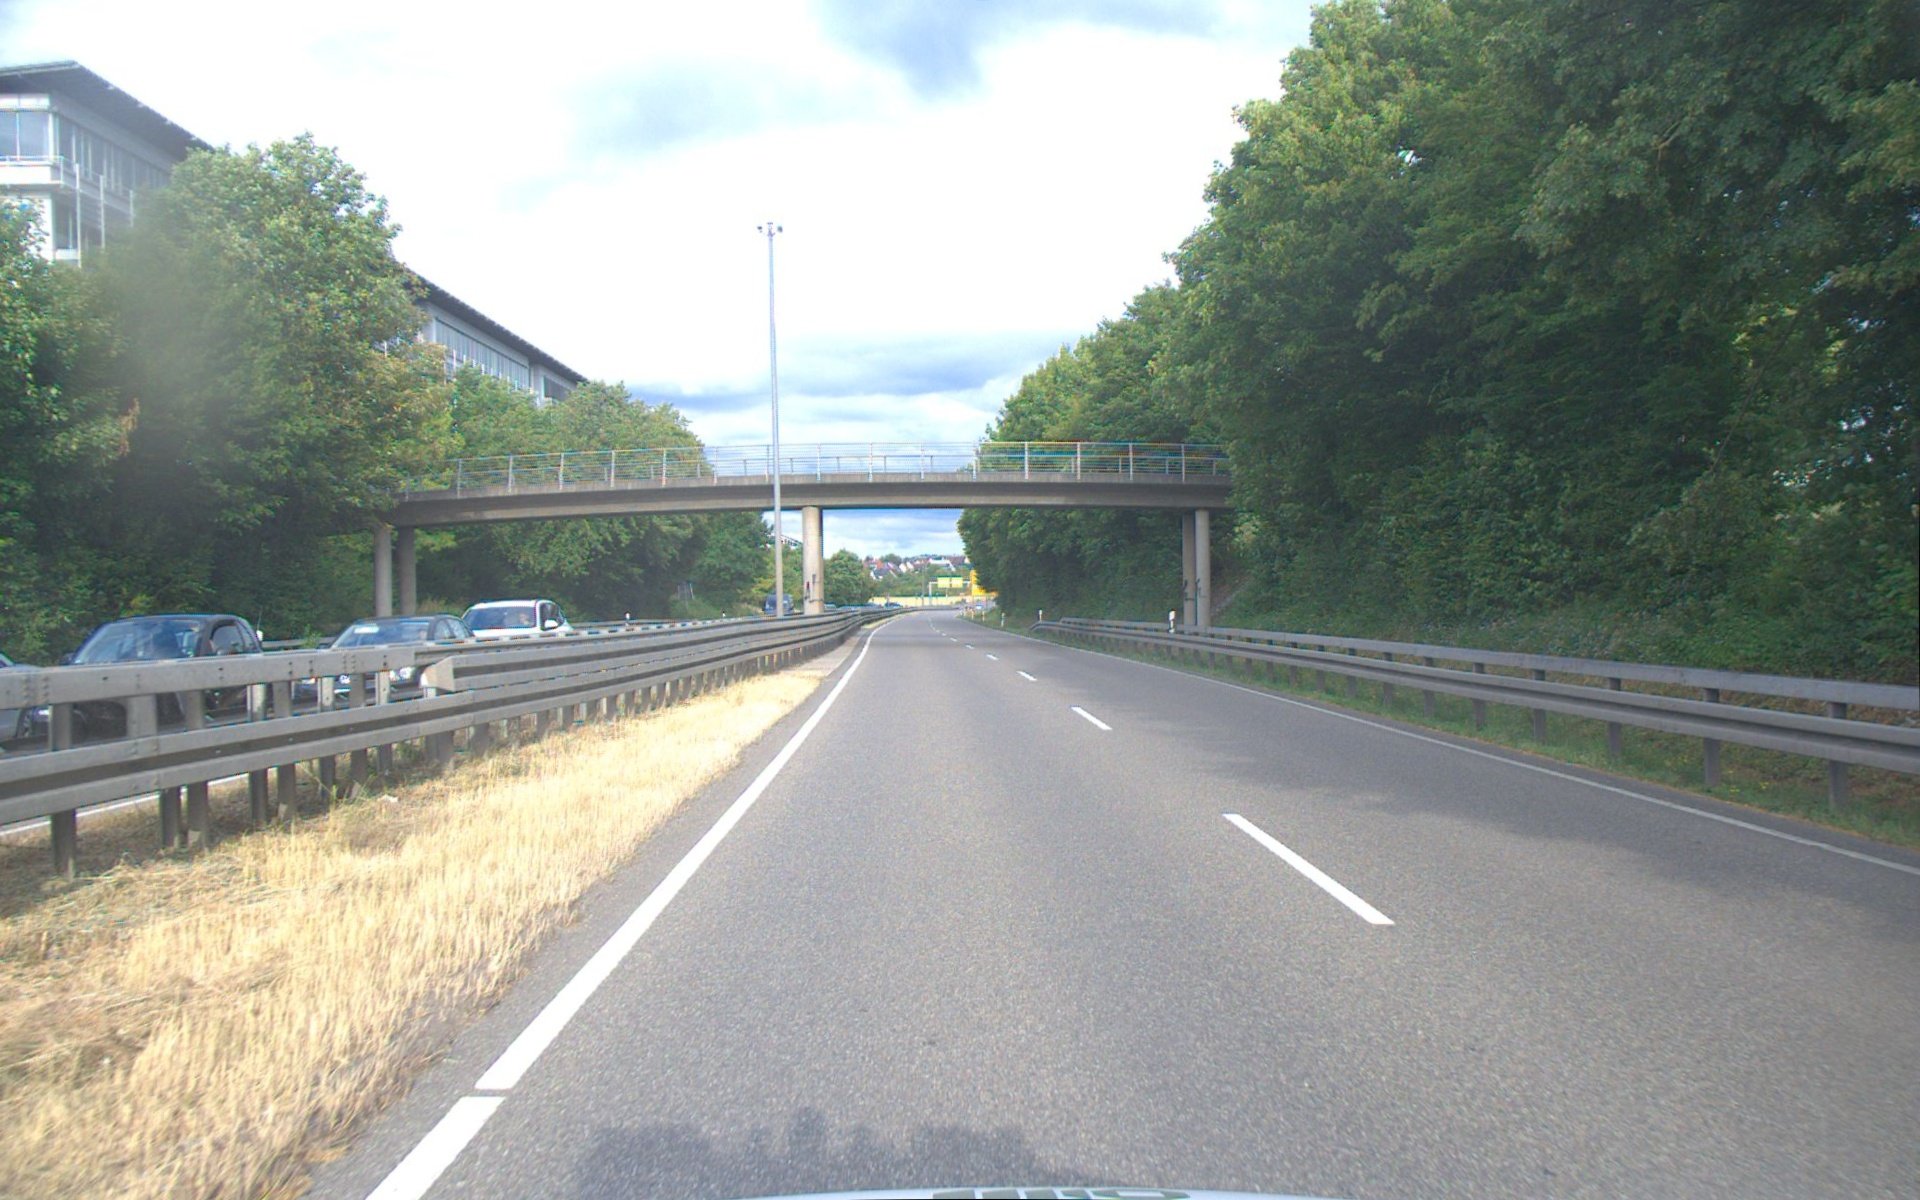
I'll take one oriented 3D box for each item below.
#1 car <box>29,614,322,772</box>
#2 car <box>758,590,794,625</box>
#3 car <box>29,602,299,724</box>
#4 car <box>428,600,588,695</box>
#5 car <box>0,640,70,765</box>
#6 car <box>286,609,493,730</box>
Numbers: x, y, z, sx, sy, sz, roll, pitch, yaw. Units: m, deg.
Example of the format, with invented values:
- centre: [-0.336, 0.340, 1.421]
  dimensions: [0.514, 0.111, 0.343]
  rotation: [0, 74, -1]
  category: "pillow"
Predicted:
- centre: [-8.375, 0.927, 17.988]
  dimensions: [1.525, 1.384, 3.462]
  rotation: [-3, 1, -2]
  category: "car"
- centre: [-14.106, 0.548, 127.111]
  dimensions: [2.204, 2.581, 6.938]
  rotation: [-1, 0, -2]
  category: "car"
- centre: [-11.369, 0.834, 23.989]
  dimensions: [1.797, 1.563, 4.396]
  rotation: [-1, 0, 0]
  category: "car"
- centre: [-8.406, 0.825, 31.191]
  dimensions: [1.786, 1.612, 4.789]
  rotation: [-1, 0, -2]
  category: "car"
- centre: [-11.548, 1.195, 18.597]
  dimensions: [1.401, 1.377, 3.308]
  rotation: [-2, 0, -3]
  category: "car"
- centre: [-7.945, 0.910, 23.380]
  dimensions: [1.683, 1.492, 3.733]
  rotation: [-2, 0, -2]
  category: "car"
